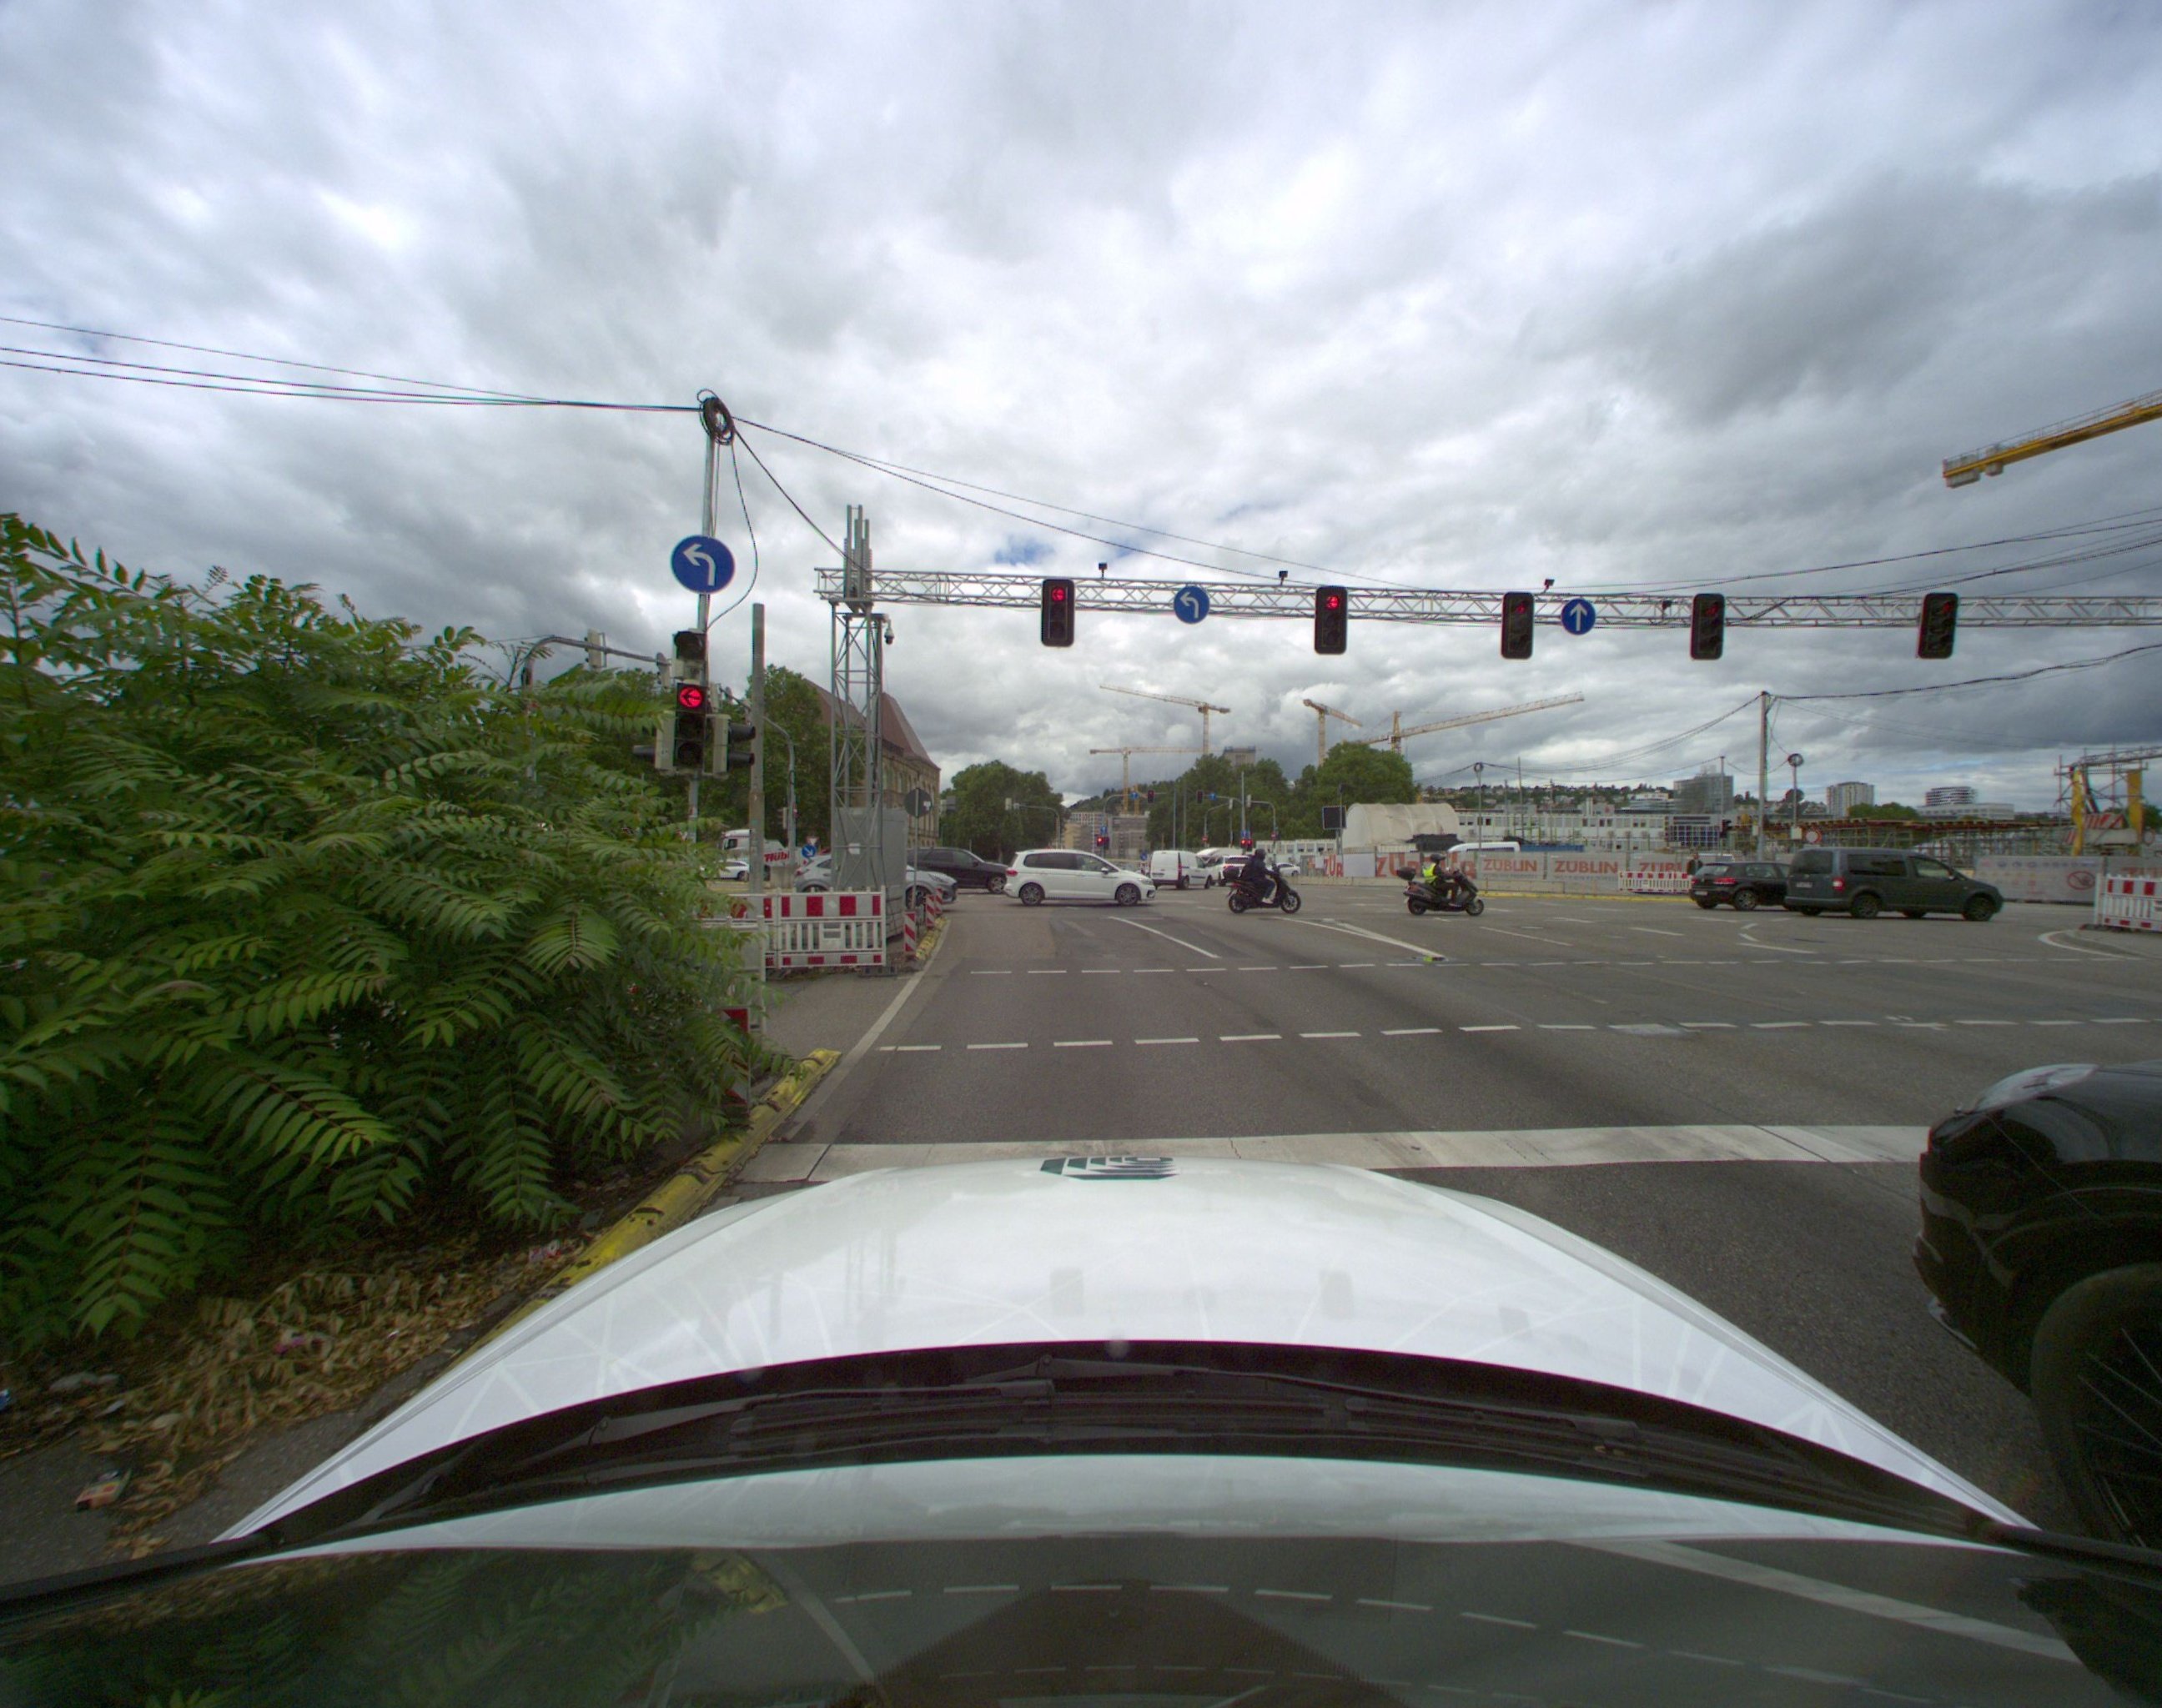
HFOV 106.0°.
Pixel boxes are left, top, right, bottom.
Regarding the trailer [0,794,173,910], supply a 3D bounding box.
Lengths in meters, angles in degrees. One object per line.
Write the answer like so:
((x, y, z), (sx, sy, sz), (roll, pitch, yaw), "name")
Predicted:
((-28.300, -0.017, 20.418), (7.338, 2.725, 2.857), (0, -1, -6), "trailer")

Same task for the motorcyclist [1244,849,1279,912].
((4.687, 0.685, 21.162), (0.783, 1.597, 0.652), (0, -1, 2), "motorcyclist")

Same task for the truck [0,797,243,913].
((-25.022, 0.029, 20.743), (4.198, 2.725, 2.857), (0, -1, -5), "truck")

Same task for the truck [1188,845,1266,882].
((13.091, 0.828, 72.930), (6.607, 3.146, 2.350), (0, -1, -22), "truck")

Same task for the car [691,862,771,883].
((-24.902, 1.312, 58.146), (5.153, 1.419, 2.221), (0, -1, -22), "car")

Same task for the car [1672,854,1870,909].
((20.439, 0.805, 24.287), (4.086, 1.547, 2.004), (0, -1, 6), "car")

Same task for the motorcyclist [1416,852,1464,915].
((9.124, 0.744, 20.741), (0.875, 1.571, 0.818), (0, -1, 2), "motorcyclist")

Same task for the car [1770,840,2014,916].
((20.657, 0.595, 20.886), (4.254, 1.805, 2.000), (0, -1, 1), "car")

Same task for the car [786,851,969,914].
((-5.222, 0.729, 21.385), (4.281, 1.540, 1.999), (0, -1, -1), "car")

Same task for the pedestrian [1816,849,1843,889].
((38.292, 0.747, 41.667), (0.673, 2.014, 0.869), (-1, -1, 14), "pedestrian")

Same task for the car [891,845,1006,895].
((-5.128, 0.582, 31.433), (4.246, 1.834, 1.992), (0, -1, -12), "car")

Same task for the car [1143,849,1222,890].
((4.921, 0.729, 38.941), (1.846, 1.833, 4.752), (-1, -1, 33), "car")

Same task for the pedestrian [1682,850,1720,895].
((25.756, 0.757, 33.864), (1.035, 1.848, 0.794), (-1, -1, 17), "pedestrian")

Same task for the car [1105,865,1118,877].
((4.759, 2.645, 126.164), (1.986, 1.838, 4.002), (0, -1, 2), "car")

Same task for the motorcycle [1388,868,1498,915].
((9.187, 0.950, 20.735), (2.413, 1.155, 0.818), (0, -1, 2), "motorcycle")

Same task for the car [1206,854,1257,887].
((8.529, 0.907, 46.446), (1.988, 1.759, 4.502), (0, -1, -1), "car")

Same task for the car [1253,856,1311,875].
((19.536, 1.080, 79.205), (5.188, 1.785, 2.149), (0, -1, -21), "car")

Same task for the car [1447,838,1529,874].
((23.472, 0.122, 47.111), (3.955, 2.014, 2.009), (-1, -1, 17), "car")

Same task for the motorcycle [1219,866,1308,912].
((4.720, 0.901, 21.159), (2.159, 1.155, 0.652), (0, -1, 2), "motorcycle")

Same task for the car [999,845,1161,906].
((-0.020, 0.624, 24.405), (4.656, 1.702, 1.999), (0, -1, -1), "car")

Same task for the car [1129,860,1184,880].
((6.808, 1.427, 73.604), (4.585, 1.775, 1.985), (0, 0, -23), "car")

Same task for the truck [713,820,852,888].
((-22.697, 0.016, 62.256), (9.750, 4.961, 3.092), (0, -1, -21), "truck")

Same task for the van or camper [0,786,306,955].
((-17.161, 0.260, 14.677), (6.012, 2.610, 2.171), (0, 0, 20), "van or camper")
